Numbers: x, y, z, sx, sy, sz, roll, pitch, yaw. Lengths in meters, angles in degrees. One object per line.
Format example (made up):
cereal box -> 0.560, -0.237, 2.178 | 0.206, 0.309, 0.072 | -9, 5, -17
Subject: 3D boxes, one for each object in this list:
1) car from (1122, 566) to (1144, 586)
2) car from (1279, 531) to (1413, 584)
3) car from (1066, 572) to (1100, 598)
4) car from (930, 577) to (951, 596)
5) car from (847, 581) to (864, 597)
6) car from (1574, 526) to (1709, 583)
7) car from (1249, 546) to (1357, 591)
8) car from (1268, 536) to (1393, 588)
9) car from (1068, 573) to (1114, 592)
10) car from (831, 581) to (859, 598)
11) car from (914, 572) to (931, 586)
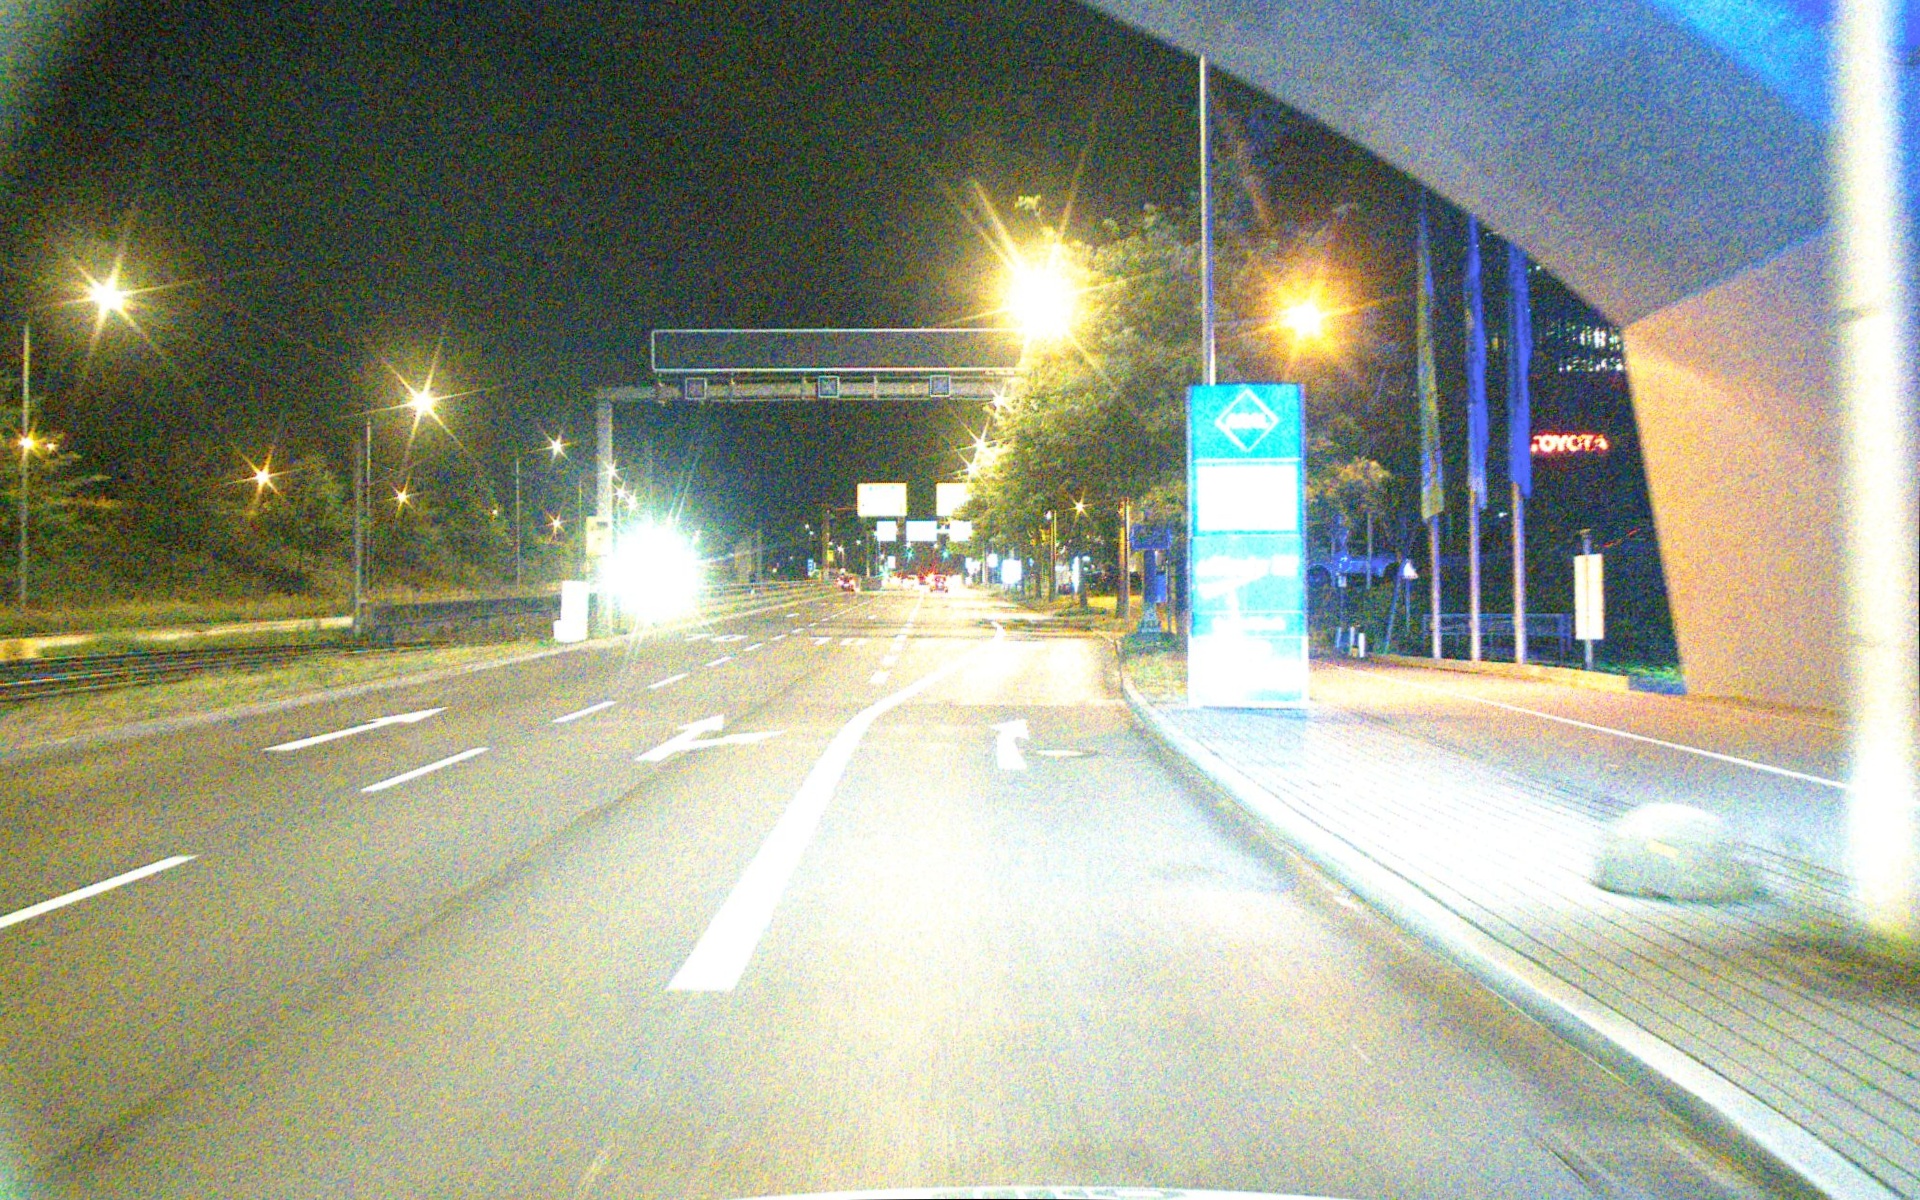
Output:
car -> 14.616, -1.990, 139.824 | 1.852, 1.538, 3.638 | 1, -1, 6
car -> 12.802, -1.399, 55.019 | 4.034, 1.549, 1.822 | -2, -2, 0
car -> 9.894, -1.183, 133.022 | 1.951, 1.979, 4.002 | 1, -1, 16
car -> -1.907, -1.362, 163.983 | 1.927, 1.741, 4.000 | 1, -1, 1
car -> -12.447, -1.328, 197.115 | 1.748, 1.741, 3.995 | 1, -1, -6
car -> 21.667, -1.443, 52.693 | 3.565, 1.496, 1.637 | -4, -1, 3
car -> 12.897, -1.187, 62.355 | 3.650, 1.515, 1.741 | -2, -1, -3
car -> 12.797, -1.300, 57.332 | 3.905, 1.599, 1.738 | -2, -1, 0
car -> 10.933, -1.458, 138.222 | 3.553, 1.476, 1.706 | 1, -1, -5
car -> -12.099, -1.102, 173.907 | 1.938, 1.741, 3.977 | 2, -1, -19
car -> -4.903, -2.740, 217.089 | 1.963, 1.579, 4.295 | 1, -1, 1
